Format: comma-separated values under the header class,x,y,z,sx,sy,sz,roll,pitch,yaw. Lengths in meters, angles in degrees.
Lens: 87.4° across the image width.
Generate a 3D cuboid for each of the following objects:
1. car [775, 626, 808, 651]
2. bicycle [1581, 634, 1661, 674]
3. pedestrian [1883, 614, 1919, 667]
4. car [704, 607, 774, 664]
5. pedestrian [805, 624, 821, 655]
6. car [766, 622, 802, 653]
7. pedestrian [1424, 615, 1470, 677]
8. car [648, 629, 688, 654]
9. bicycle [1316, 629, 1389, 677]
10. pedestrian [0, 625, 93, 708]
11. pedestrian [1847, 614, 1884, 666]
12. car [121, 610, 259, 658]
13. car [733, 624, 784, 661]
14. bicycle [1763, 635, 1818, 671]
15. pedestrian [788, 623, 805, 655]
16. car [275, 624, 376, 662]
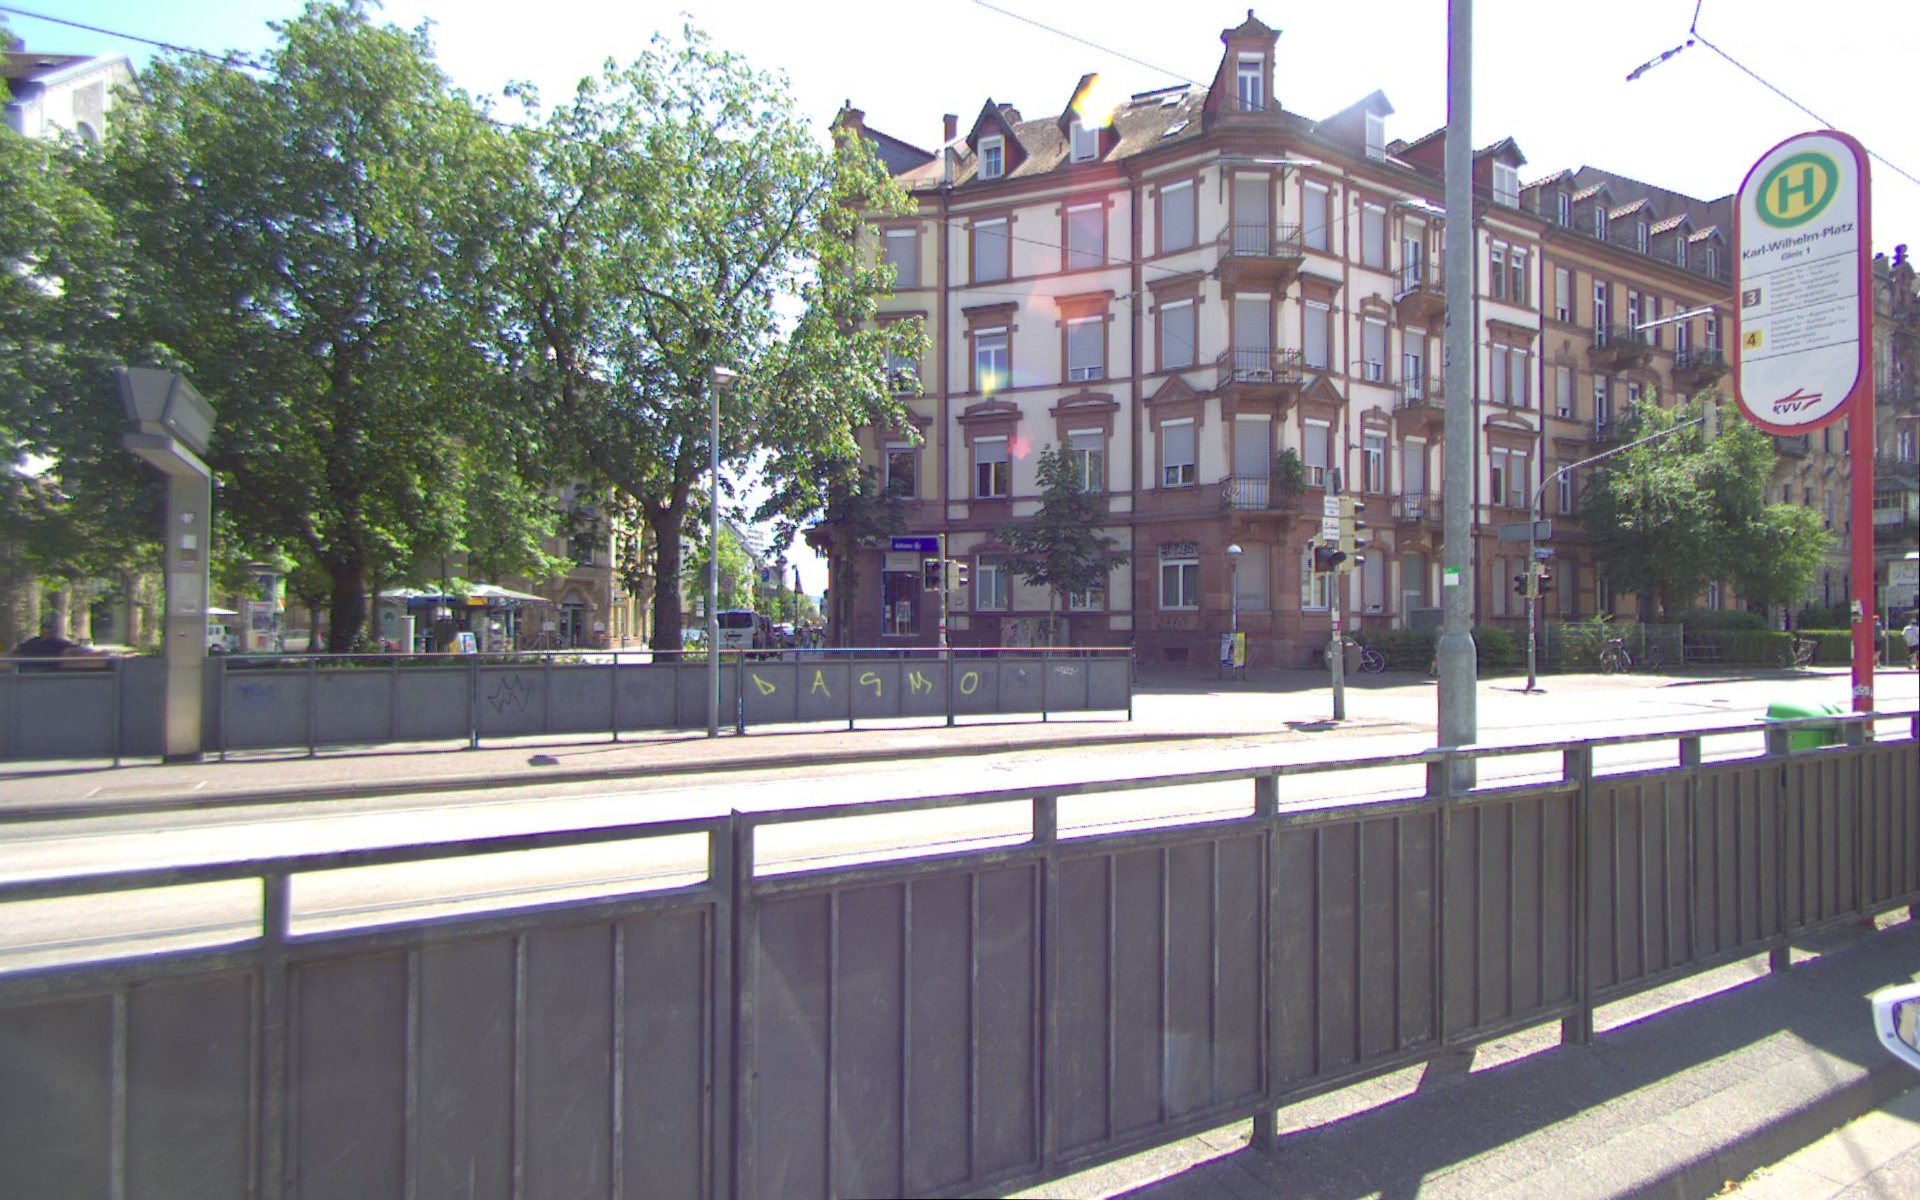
class,x,y,z,sx,sy,sz,roll,pitch,yaw
car,-12.493,2.852,74.758,1.962,1.617,3.998,2,0,-4
bicycle,20.219,1.648,30.718,2.742,1.151,0.932,2,0,-31
pedestrian,34.031,1.451,36.296,0.864,1.847,0.811,0,1,-35
car,-8.337,1.304,38.218,1.962,1.970,3.998,2,0,-4
pedestrian,-7.657,2.049,52.263,0.742,1.632,0.688,0,-1,-4
car,-10.383,2.184,59.455,1.684,1.617,3.998,2,0,-4
pedestrian,13.807,1.296,28.516,1.041,1.712,0.723,0,-1,16
car,-20.669,2.925,71.164,1.846,1.617,3.998,2,0,-4
bicycle,11.656,1.561,29.864,1.923,1.312,0.564,2,0,11
pedestrian,-14.669,1.048,16.106,0.925,1.261,0.860,2,0,-24
pedestrian,33.199,1.444,36.829,0.864,1.847,0.811,0,1,-35
car,-31.198,1.374,40.816,3.932,1.814,1.994,2,0,-14
car,-9.635,2.016,48.290,1.893,1.541,3.998,2,0,-4
bicycle,28.523,1.805,34.477,2.750,1.151,0.930,2,0,-39
pedestrian,-8.454,2.023,51.985,0.790,1.632,0.731,0,-1,-4
car,-32.085,2.167,50.891,3.920,1.730,1.761,2,0,-14
